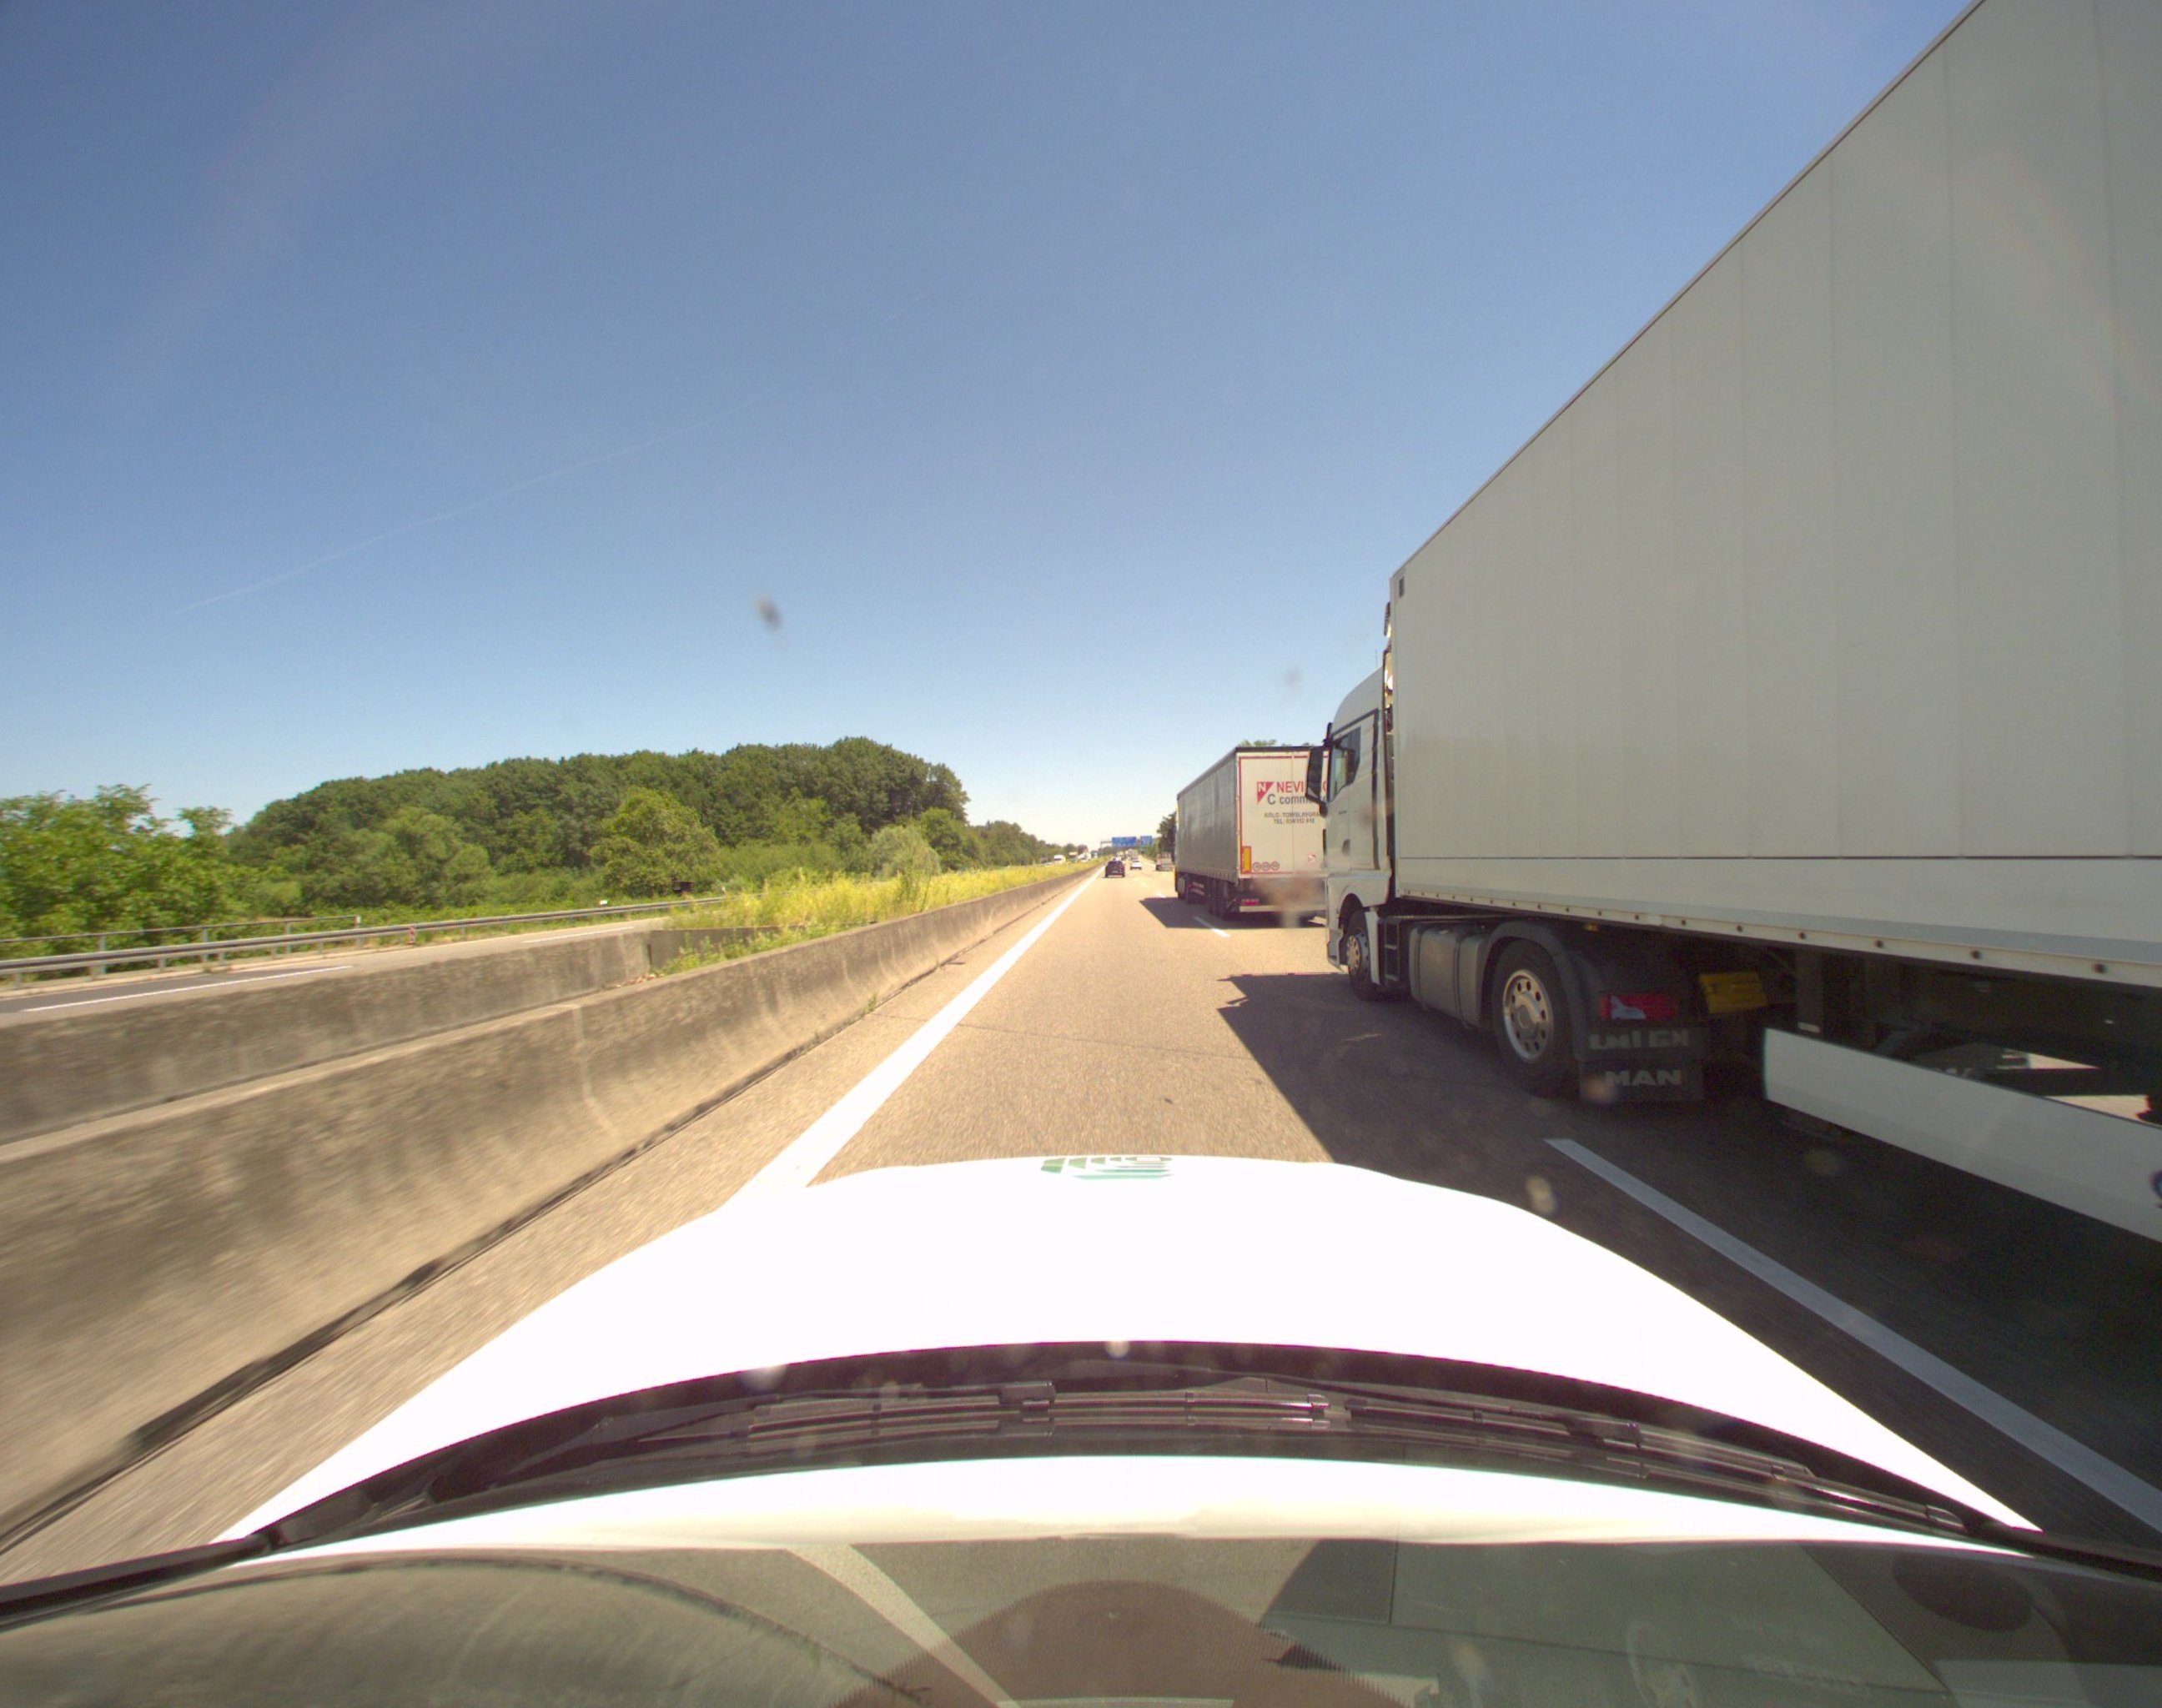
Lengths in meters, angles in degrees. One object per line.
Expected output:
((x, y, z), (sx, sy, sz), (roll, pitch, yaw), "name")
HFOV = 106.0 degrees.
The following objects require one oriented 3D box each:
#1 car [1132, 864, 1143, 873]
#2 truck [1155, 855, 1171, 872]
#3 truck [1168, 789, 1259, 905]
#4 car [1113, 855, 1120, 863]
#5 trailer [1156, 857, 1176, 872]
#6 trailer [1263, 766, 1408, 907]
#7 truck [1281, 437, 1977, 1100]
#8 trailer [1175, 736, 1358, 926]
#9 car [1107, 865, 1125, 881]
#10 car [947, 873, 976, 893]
((9.237, 2.337, 133.478), (1.733, 1.486, 4.002), (-1, -1, 2), "car")
((12.162, 1.386, 121.621), (1.986, 2.374, 4.645), (-1, 0, 1), "truck")
((5.063, -0.188, 32.208), (2.690, 4.094, 6.455), (-1, -1, 2), "truck")
((10.398, 1.492, 241.234), (1.986, 2.014, 4.001), (-3, -1, 2), "car")
((12.075, 1.508, 116.270), (2.412, 2.014, 6.035), (-1, 0, 1), "trailer")
((8.880, -0.411, 29.955), (2.307, 4.241, 10.658), (-1, -1, 2), "trailer")
((4.055, -0.491, 7.971), (2.790, 4.007, 6.021), (-1, -1, 1), "truck")
((4.840, -0.339, 24.952), (2.697, 4.068, 14.751), (-1, -1, 2), "trailer")
((3.470, 1.847, 81.028), (1.654, 1.549, 3.783), (0, -1, 1), "car")
((-11.030, 2.640, 75.376), (1.817, 1.653, 4.172), (-4, -1, 2), "car")
